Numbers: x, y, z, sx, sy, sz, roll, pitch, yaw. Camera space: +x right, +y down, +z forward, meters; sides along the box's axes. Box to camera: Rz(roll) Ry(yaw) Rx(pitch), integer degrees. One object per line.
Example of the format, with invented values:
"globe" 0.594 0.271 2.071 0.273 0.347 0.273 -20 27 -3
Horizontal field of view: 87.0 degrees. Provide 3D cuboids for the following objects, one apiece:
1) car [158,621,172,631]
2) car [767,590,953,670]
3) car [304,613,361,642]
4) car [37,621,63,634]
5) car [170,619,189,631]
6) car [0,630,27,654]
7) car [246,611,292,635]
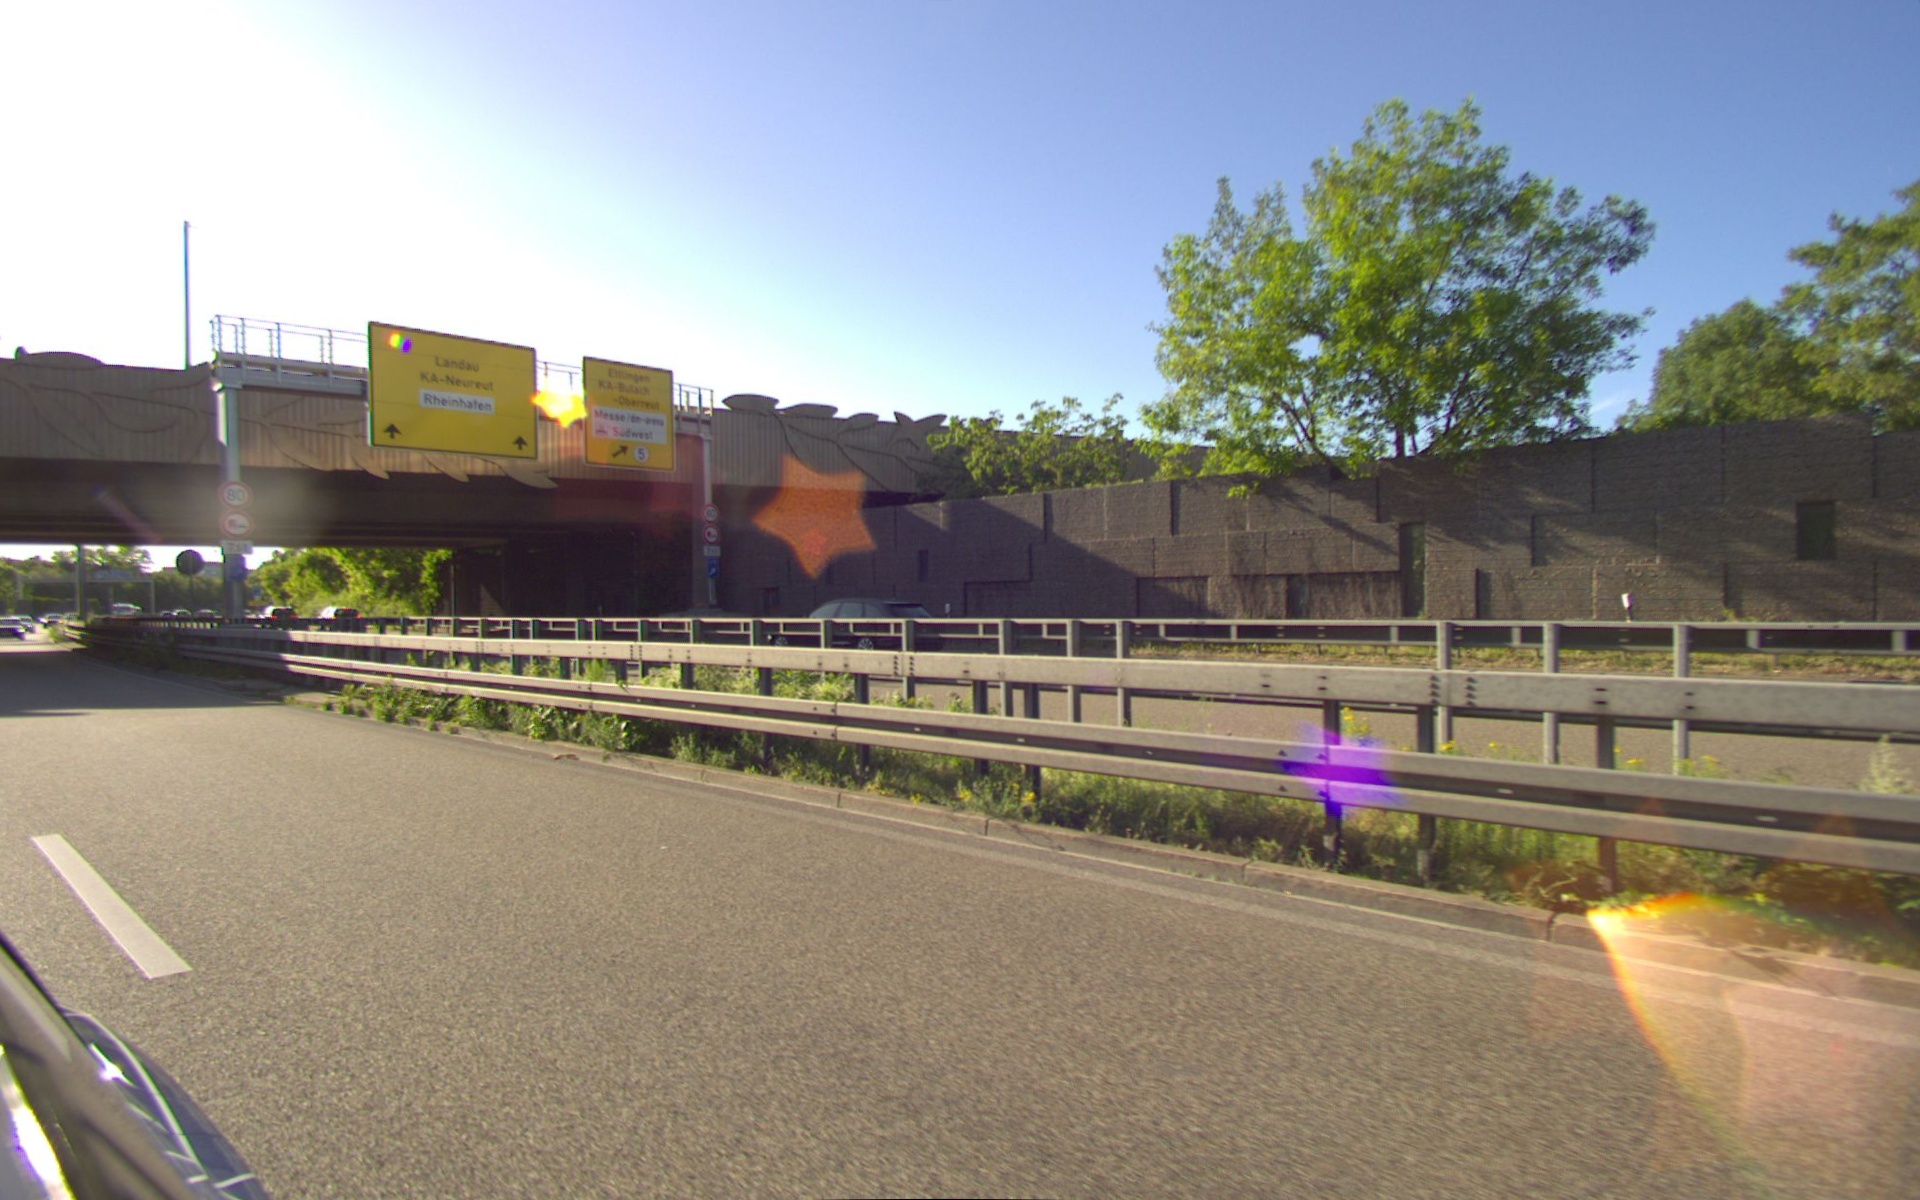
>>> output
"car" -144.107 4.639 183.439 1.968 1.653 4.729 -2 0 -39
"car" -2.346 0.669 22.874 4.393 1.585 1.530 -2 1 41
"car" -38.104 1.663 61.419 4.429 1.608 1.971 -2 0 45
"car" -103.546 3.114 115.184 1.969 1.425 4.838 -2 0 -40
"car" -112.200 3.591 145.435 1.968 1.653 4.729 -2 0 -39
"car" -60.159 2.634 63.764 1.970 1.425 4.835 -2 0 -43
"car" -50.925 1.693 74.552 1.971 1.719 4.563 0 -1 -45
